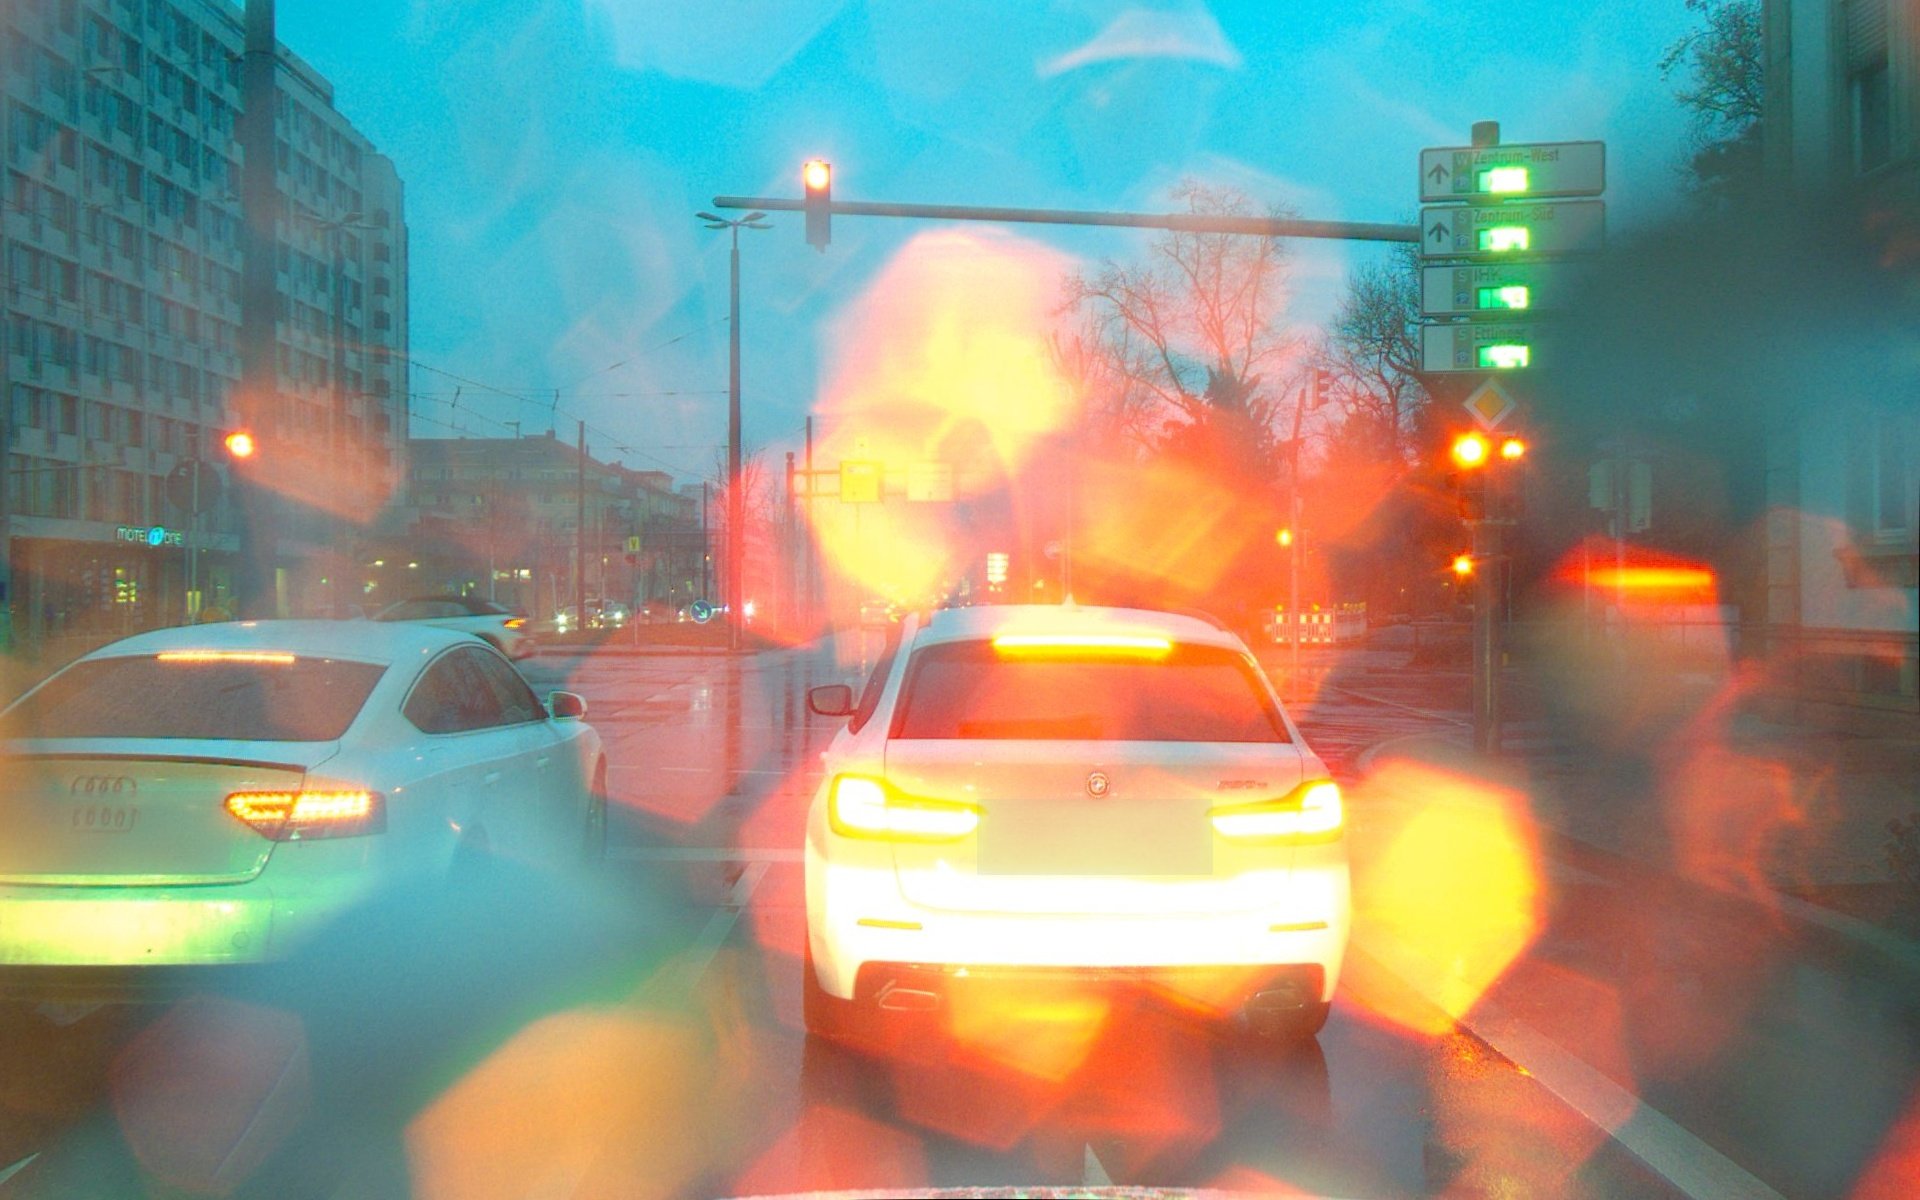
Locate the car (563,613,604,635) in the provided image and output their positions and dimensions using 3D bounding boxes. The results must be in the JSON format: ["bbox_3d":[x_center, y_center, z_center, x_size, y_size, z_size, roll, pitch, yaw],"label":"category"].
[{"bbox_3d":[-26.900,1.717,118.393,1.954,1.487,5.092,1,0,-3],"label":"car"}]

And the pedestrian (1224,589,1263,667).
[{"bbox_3d":[7.097,0.697,41.358,0.702,1.912,0.671,1,-1,-20],"label":"pedestrian"}]

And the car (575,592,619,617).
[{"bbox_3d":[-22.366,0.259,102.100,1.954,1.487,5.090,1,0,-5],"label":"car"}]

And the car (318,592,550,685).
[{"bbox_3d":[-10.309,0.753,32.667,3.991,1.716,1.957,1,0,-5],"label":"car"}]

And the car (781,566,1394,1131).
[{"bbox_3d":[0.267,0.716,6.801,1.724,1.580,4.249,1,0,-3],"label":"car"}]

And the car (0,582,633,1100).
[{"bbox_3d":[-2.571,0.710,6.930,1.724,1.495,4.249,1,0,-3],"label":"car"}]

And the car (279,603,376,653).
[{"bbox_3d":[-24.138,1.052,63.309,1.842,1.821,4.599,1,0,1],"label":"car"}]

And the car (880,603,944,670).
[{"bbox_3d":[-1.514,1.128,52.937,1.953,2.049,3.999,1,0,-1],"label":"car"}]

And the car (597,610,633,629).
[{"bbox_3d":[-27.201,1.520,130.649,1.954,1.487,5.092,1,0,-3],"label":"car"}]

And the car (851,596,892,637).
[{"bbox_3d":[-4.686,0.865,87.908,1.953,2.049,3.999,1,0,-1],"label":"car"}]
